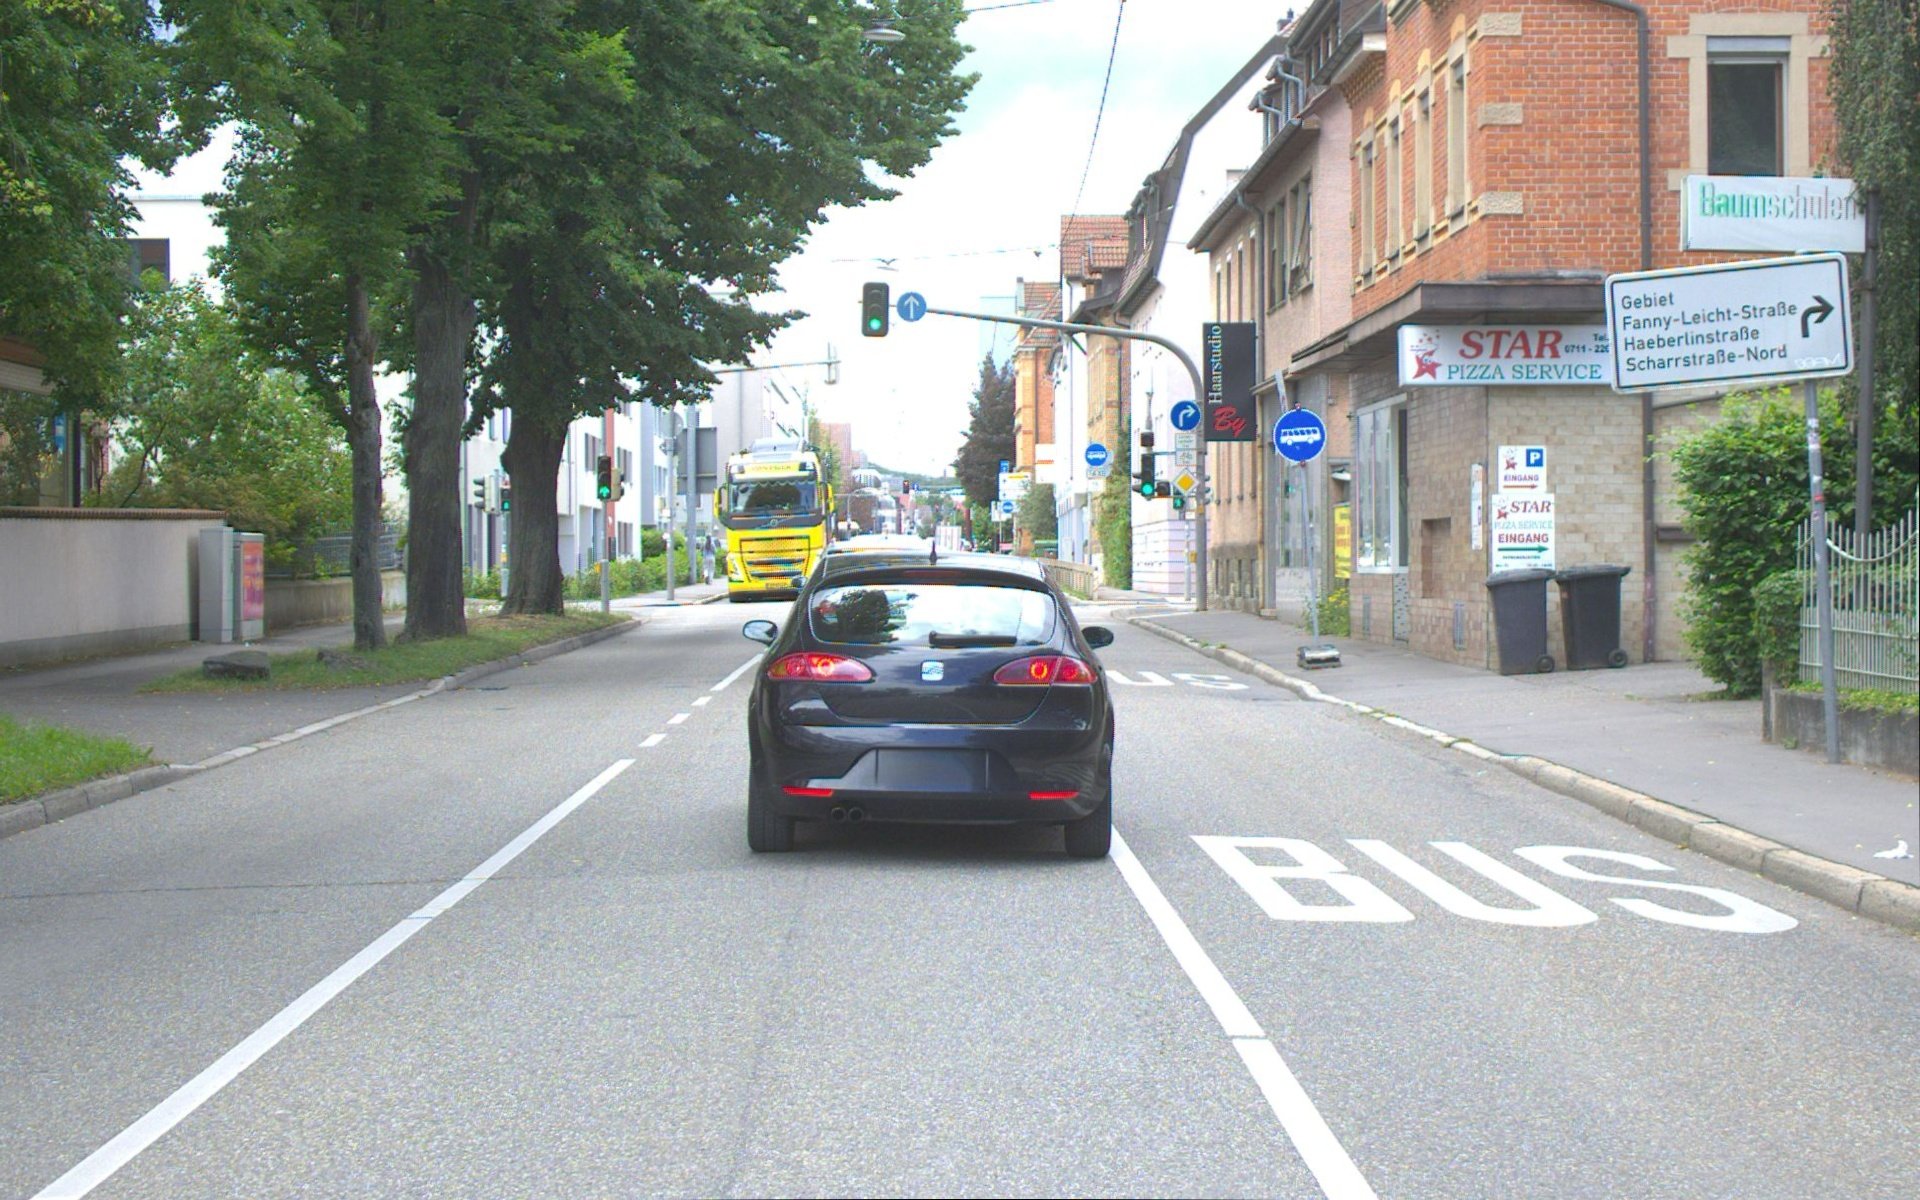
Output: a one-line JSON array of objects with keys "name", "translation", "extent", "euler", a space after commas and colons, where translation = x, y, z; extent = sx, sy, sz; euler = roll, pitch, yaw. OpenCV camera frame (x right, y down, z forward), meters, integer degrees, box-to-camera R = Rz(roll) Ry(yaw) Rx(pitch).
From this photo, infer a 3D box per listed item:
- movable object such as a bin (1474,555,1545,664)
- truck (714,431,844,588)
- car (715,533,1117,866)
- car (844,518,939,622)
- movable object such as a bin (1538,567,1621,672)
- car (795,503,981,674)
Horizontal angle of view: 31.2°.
[{"name": "movable object such as a bin", "translation": [5.607, 0.094, 35.118], "extent": [0.606, 1.097, 0.622], "euler": [-1, 0, 0]}, {"name": "truck", "translation": [-4.556, -2.244, 88.016], "extent": [2.843, 3.769, 7.669], "euler": [2, 0, 0]}, {"name": "car", "translation": [-0.223, 0.431, 17.429], "extent": [1.759, 1.437, 4.000], "euler": [2, 0, -1]}, {"name": "car", "translation": [-1.180, -0.521, 59.435], "extent": [1.531, 1.687, 3.693], "euler": [2, 0, -1]}, {"name": "movable object such as a bin", "translation": [6.328, 0.194, 35.133], "extent": [0.698, 1.055, 0.723], "euler": [-1, 0, 0]}, {"name": "car", "translation": [-0.772, -0.134, 37.101], "extent": [1.842, 1.687, 4.000], "euler": [2, 0, -1]}]
